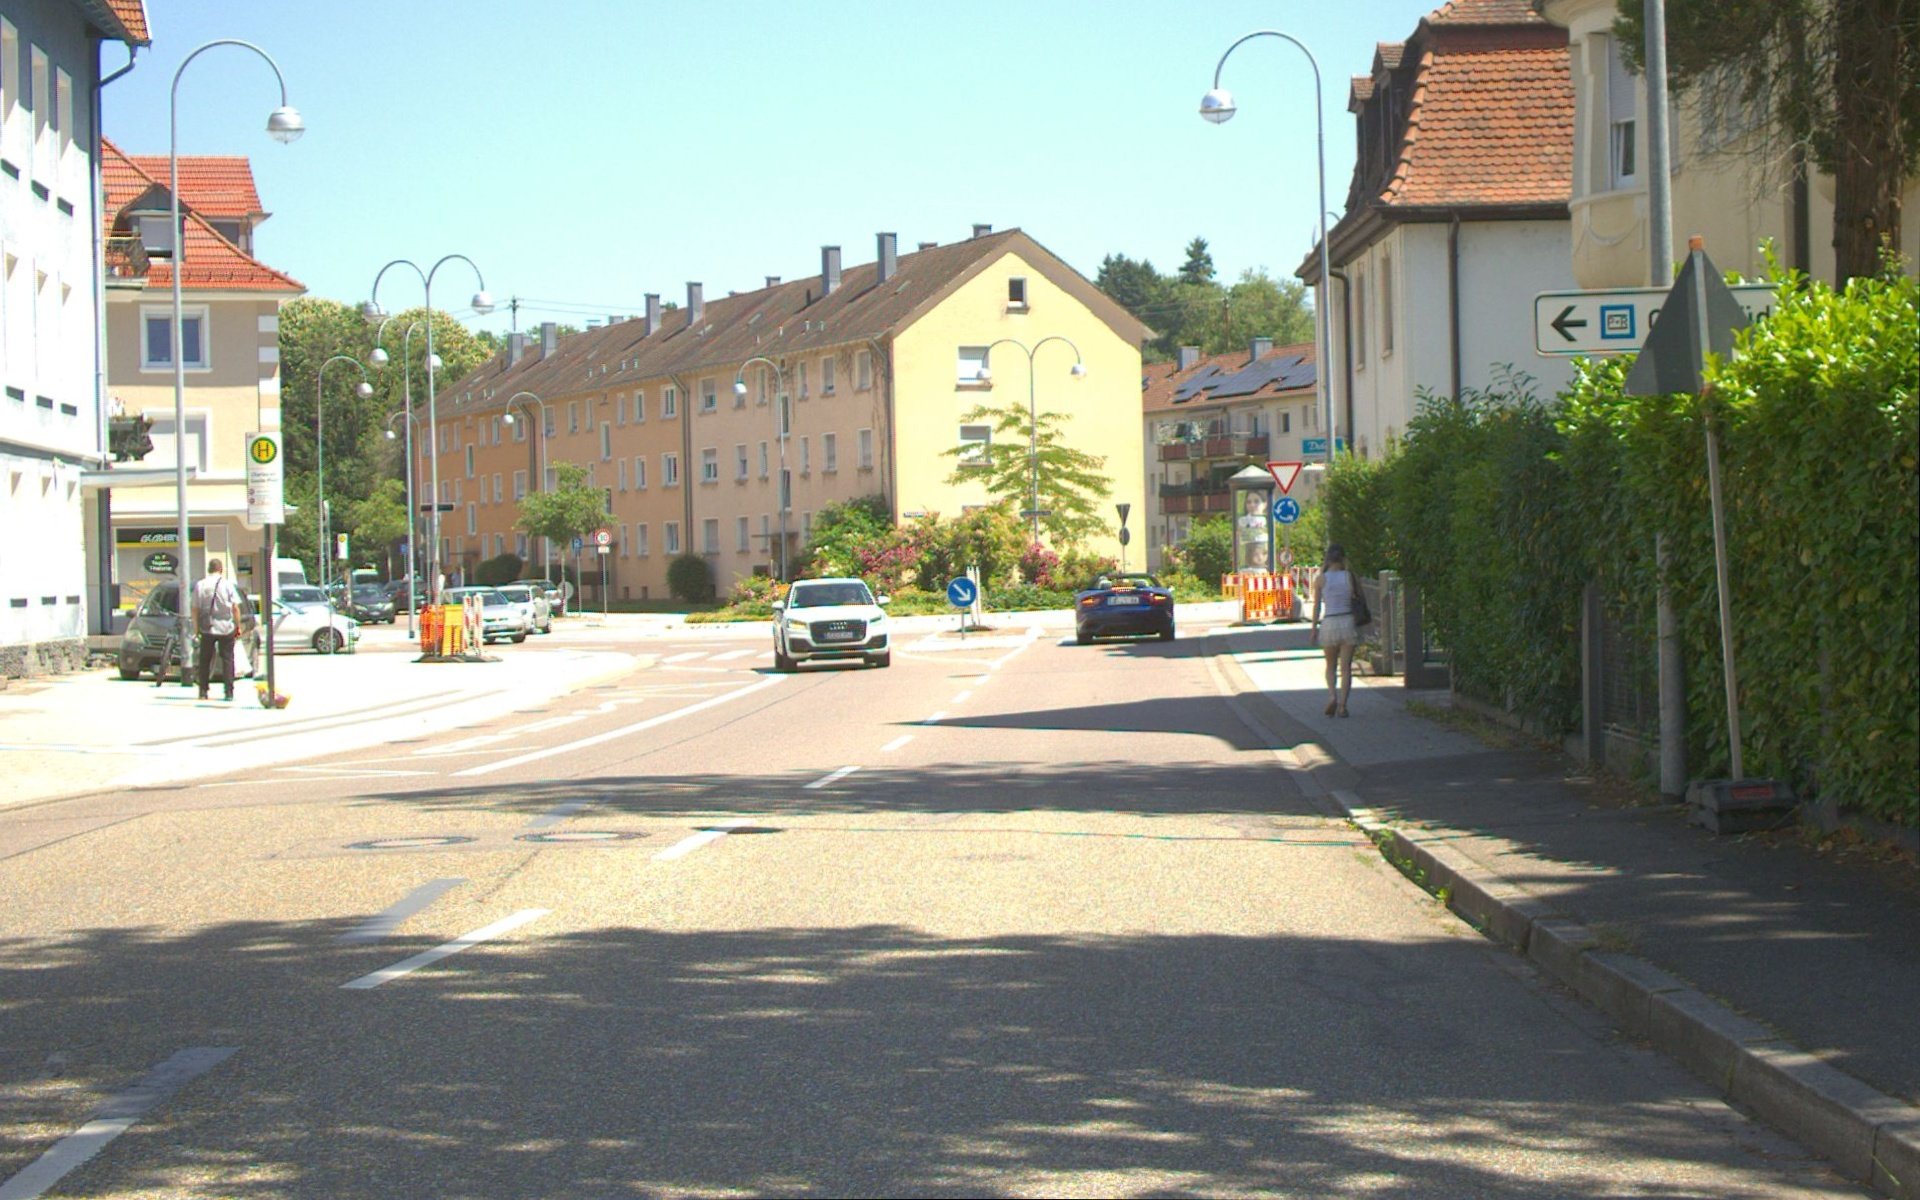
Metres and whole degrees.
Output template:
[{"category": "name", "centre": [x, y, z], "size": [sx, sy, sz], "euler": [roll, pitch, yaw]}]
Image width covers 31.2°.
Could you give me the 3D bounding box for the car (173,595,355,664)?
[{"category": "car", "centre": [-16.425, 0.698, 81.254], "size": [4.114, 1.546, 1.788], "euler": [1, -1, -9]}]

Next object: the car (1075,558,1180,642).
[{"category": "car", "centre": [3.236, 0.030, 67.133], "size": [1.871, 1.525, 4.506], "euler": [0, -1, 1]}]

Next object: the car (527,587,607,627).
[{"category": "car", "centre": [-15.175, 0.280, 132.553], "size": [1.812, 1.495, 4.000], "euler": [1, -1, -26]}]

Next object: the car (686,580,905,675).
[{"category": "car", "centre": [-2.814, 0.493, 58.101], "size": [1.821, 1.525, 3.949], "euler": [1, -2, -36]}]

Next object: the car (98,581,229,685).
[{"category": "car", "centre": [-12.197, 0.534, 52.806], "size": [1.577, 1.529, 3.776], "euler": [0, -1, -7]}]

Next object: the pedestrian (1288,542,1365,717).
[{"category": "pedestrian", "centre": [3.501, 0.280, 32.874], "size": [0.623, 1.638, 0.772], "euler": [-1, -1, -1]}]

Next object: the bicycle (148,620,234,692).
[{"category": "bicycle", "centre": [-10.958, 0.794, 49.020], "size": [0.496, 0.974, 1.972], "euler": [4, 0, 7]}]

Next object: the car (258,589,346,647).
[{"category": "car", "centre": [-19.613, 0.520, 102.345], "size": [1.775, 1.680, 4.695], "euler": [0, 0, -21]}]

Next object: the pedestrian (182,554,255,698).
[{"category": "pedestrian", "centre": [-9.690, 0.339, 44.920], "size": [0.755, 1.842, 0.772], "euler": [3, -1, -5]}]

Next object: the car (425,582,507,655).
[{"category": "car", "centre": [-12.148, 0.453, 84.324], "size": [1.781, 1.741, 4.129], "euler": [1, 0, -11]}]

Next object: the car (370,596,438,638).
[{"category": "car", "centre": [-23.904, 0.734, 147.685], "size": [1.812, 1.788, 4.000], "euler": [1, -1, -26]}]
